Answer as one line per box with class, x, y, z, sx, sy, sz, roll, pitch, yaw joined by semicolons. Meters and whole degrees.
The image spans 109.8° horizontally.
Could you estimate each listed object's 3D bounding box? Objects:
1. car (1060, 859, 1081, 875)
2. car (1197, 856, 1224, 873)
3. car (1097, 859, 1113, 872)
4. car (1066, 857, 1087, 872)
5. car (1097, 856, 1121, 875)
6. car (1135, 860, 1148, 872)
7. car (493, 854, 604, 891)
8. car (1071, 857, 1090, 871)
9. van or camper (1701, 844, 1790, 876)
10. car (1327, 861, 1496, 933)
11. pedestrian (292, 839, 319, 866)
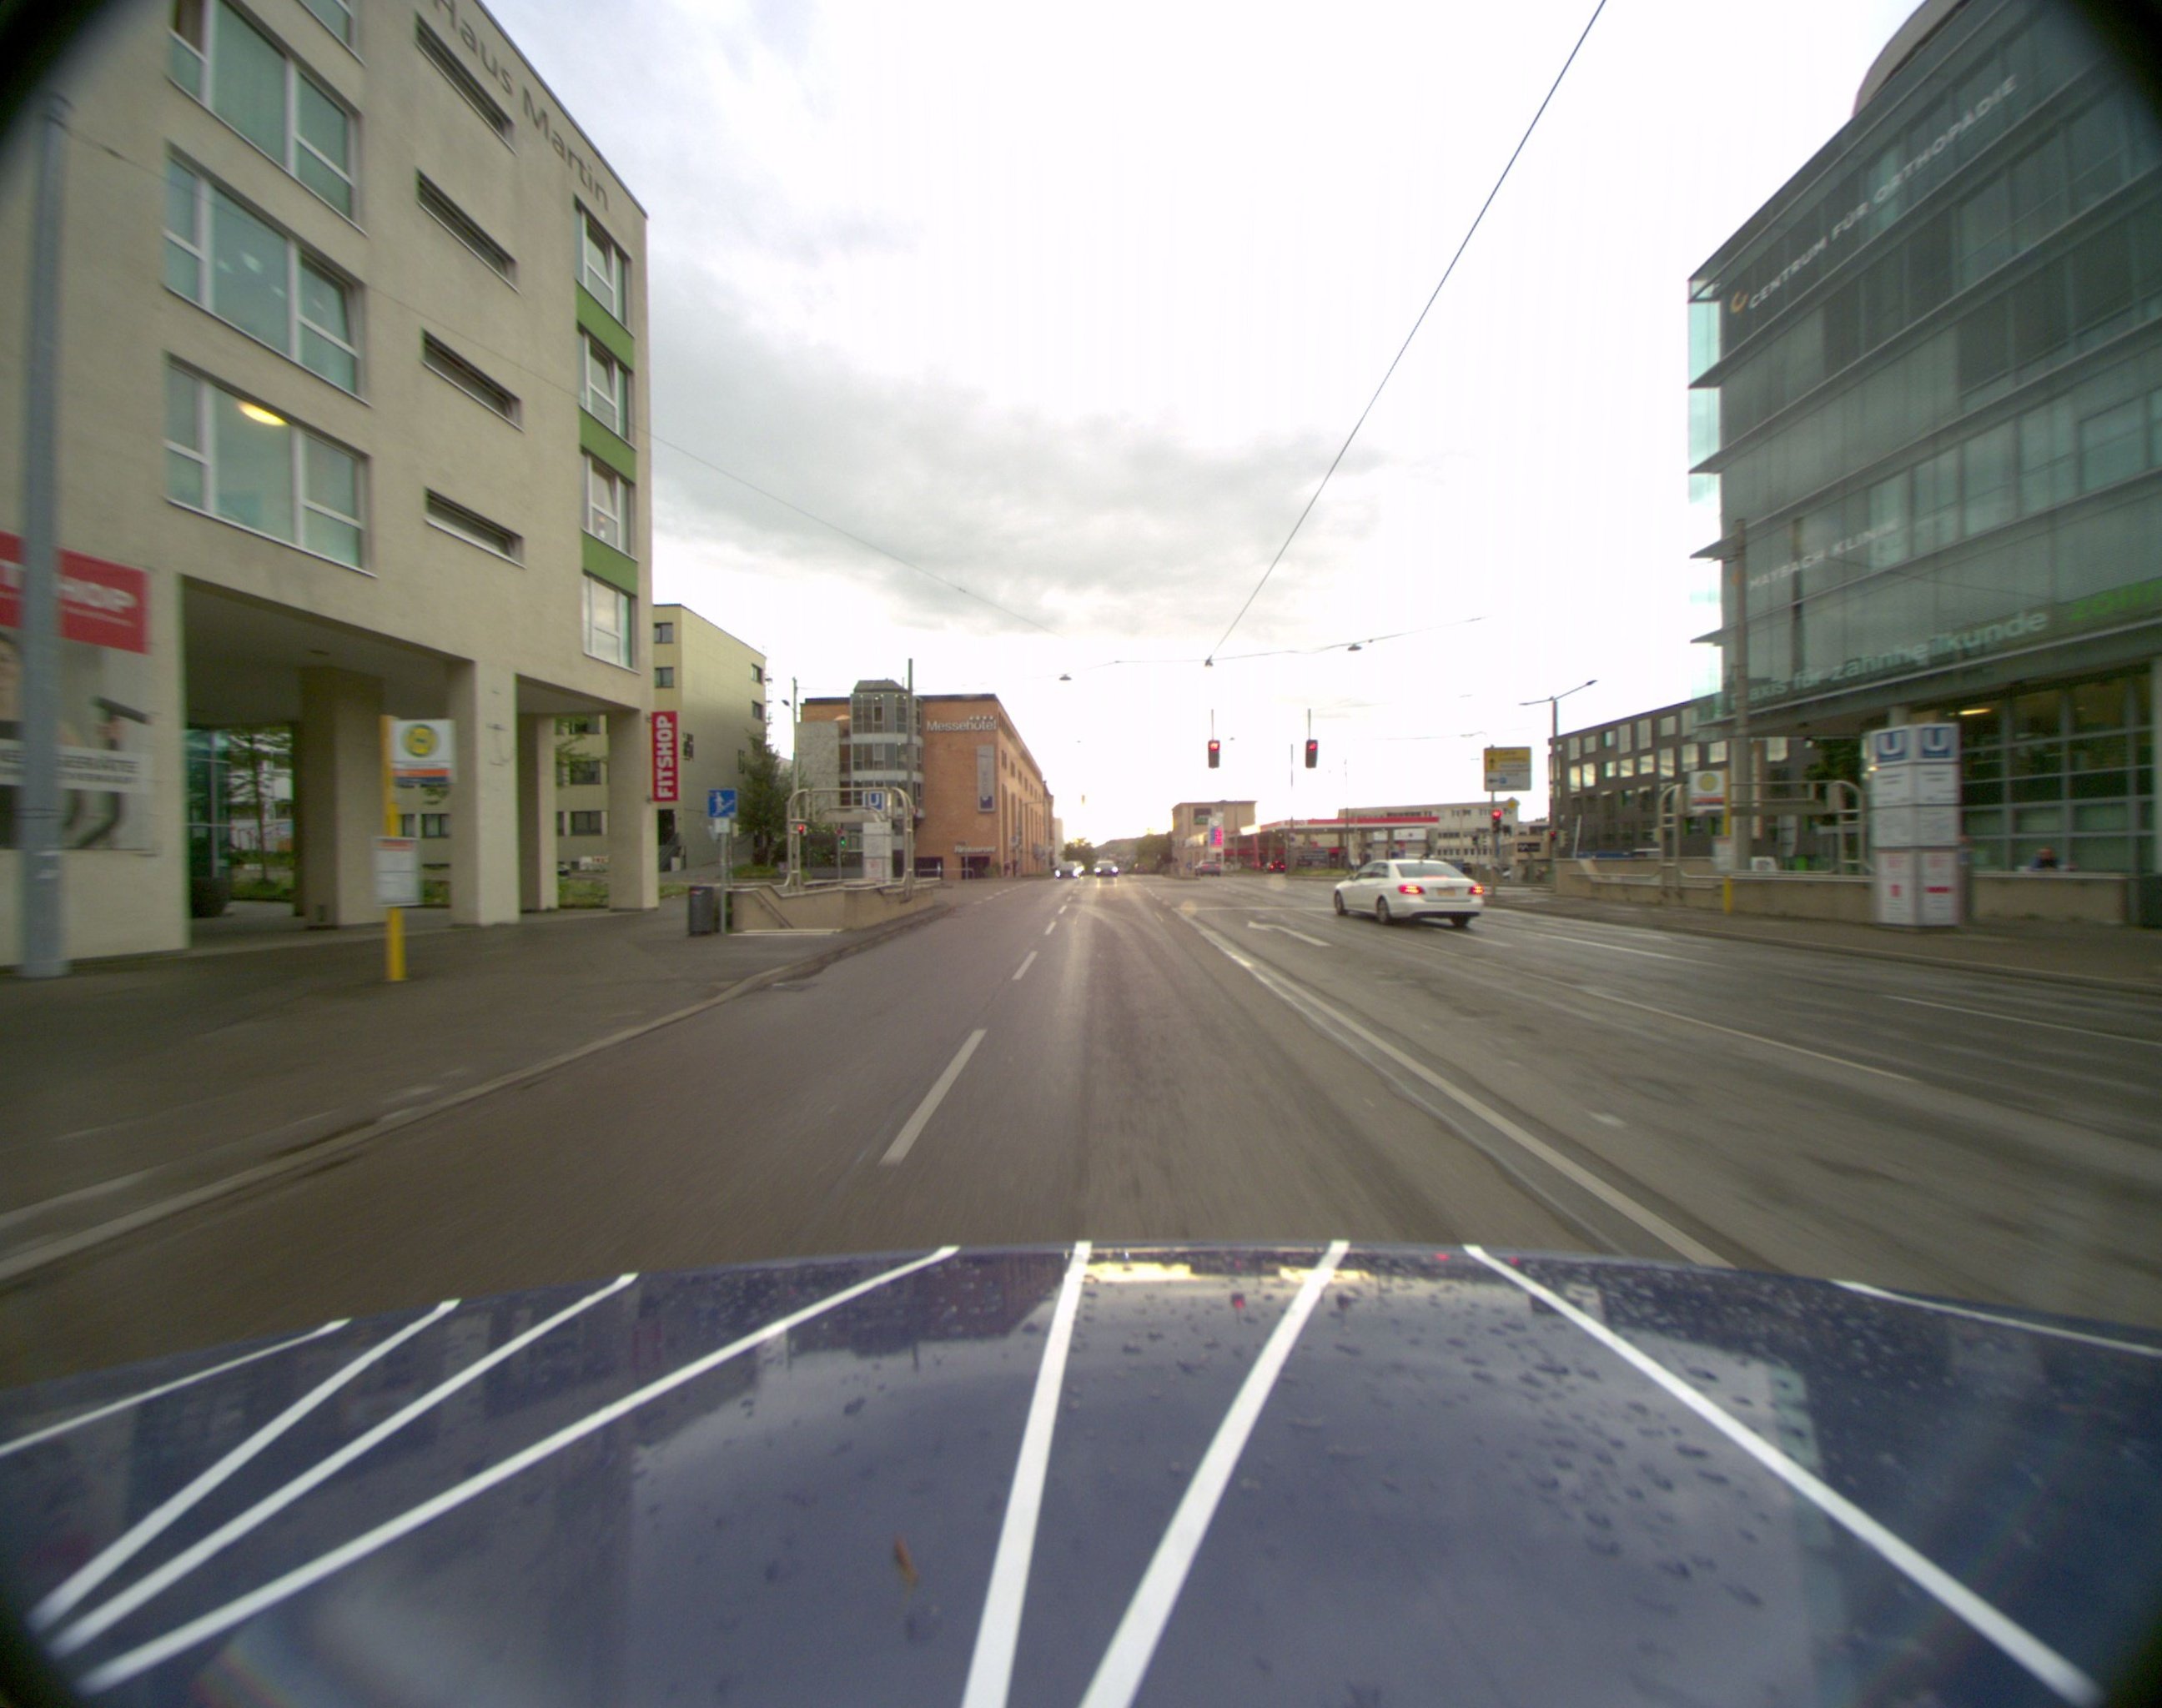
car;-0.887;1.119;66.596;1.649;1.313;4.000;-2;0;2
car;12.936;1.023;75.914;1.913;1.622;4.210;-1;0;-1
car;2.851;1.319;88.948;1.696;1.392;4.089;-2;0;4
car;-0.439;1.029;73.839;1.696;1.392;4.089;-2;0;4
car;2.441;1.004;67.693;1.964;1.516;4.262;-2;0;1
car;9.350;1.838;118.044;1.857;1.758;4.131;1;1;2
car;-25.525;0.871;36.501;3.995;1.565;2.000;1;2;4
car;-0.015;1.018;80.802;1.696;1.392;4.089;-2;0;4
van or camper;55.666;0.458;63.877;2.737;2.355;5.345;1;2;1
car;7.436;0.885;17.728;1.822;1.379;4.963;0;0;1
pedestrian;-49.801;-0.116;48.801;0.941;1.722;0.757;1;3;3
